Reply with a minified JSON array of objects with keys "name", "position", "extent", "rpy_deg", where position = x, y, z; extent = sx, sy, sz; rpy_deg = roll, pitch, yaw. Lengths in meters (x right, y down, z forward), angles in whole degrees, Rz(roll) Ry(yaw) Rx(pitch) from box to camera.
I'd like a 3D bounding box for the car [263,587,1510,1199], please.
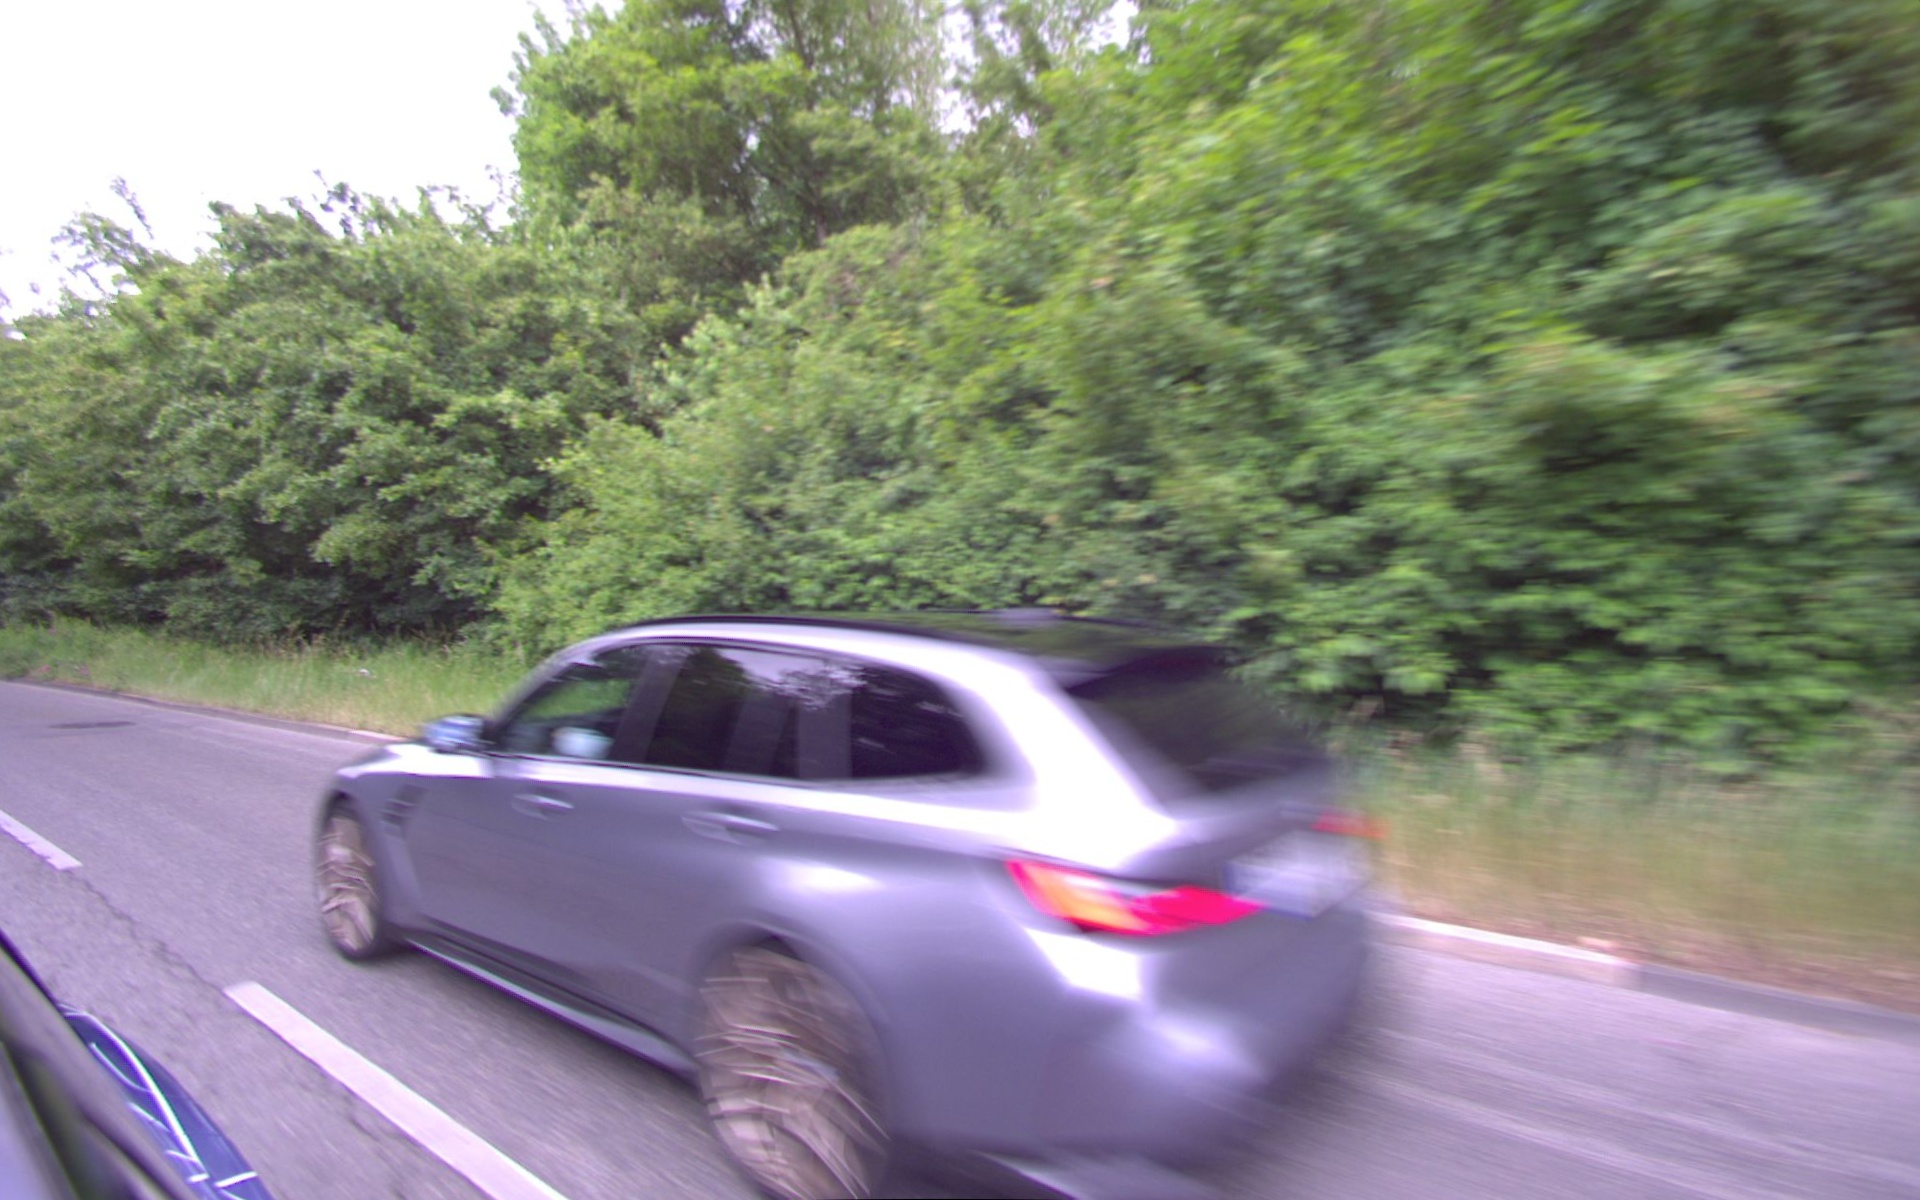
[{"name":"car","position":[-0.778,0.684,3.903],"extent":[4.837,1.364,1.879],"rpy_deg":[-1,1,39]}]
